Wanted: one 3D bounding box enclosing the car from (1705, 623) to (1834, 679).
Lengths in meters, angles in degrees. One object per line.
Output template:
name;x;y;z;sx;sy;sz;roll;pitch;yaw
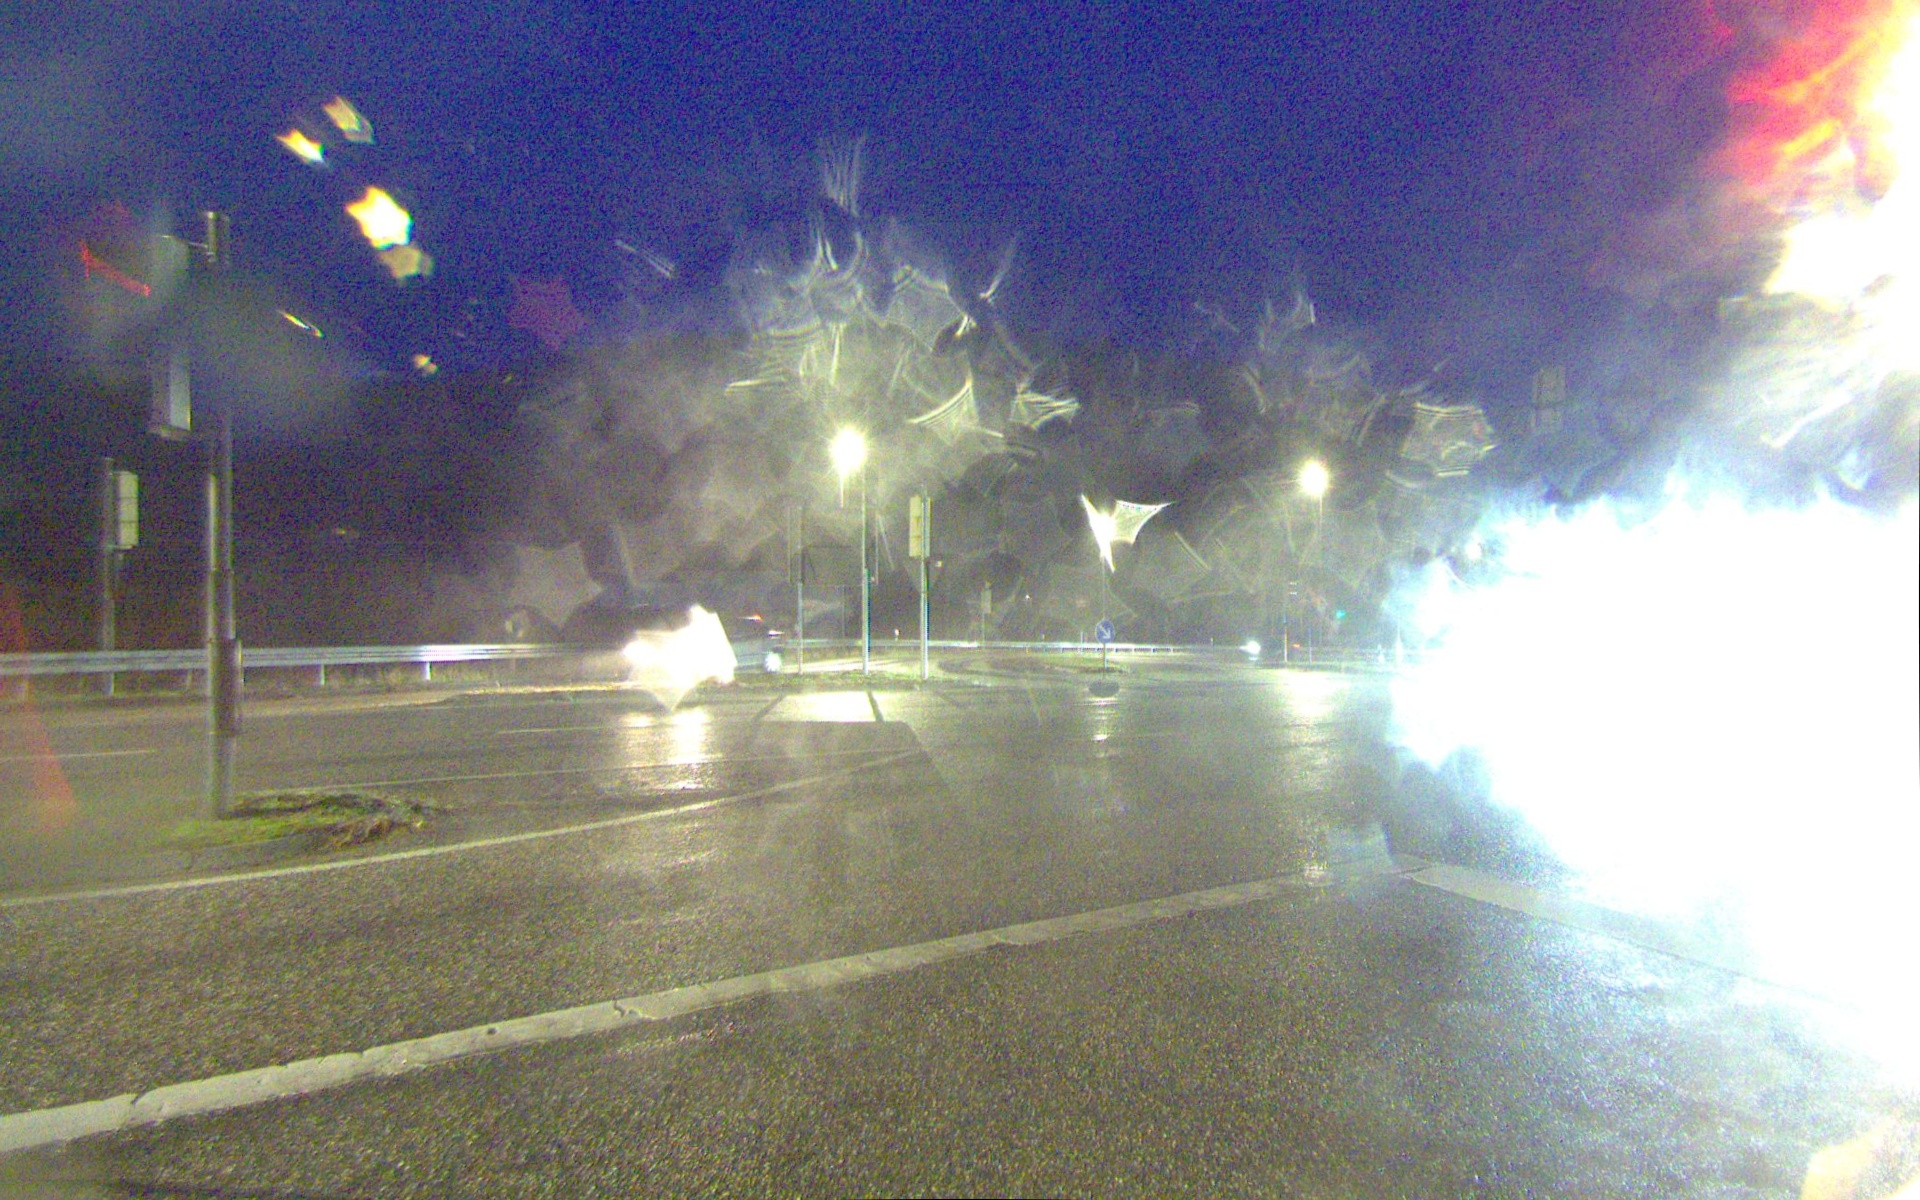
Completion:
car;23.391;1.476;29.008;3.683;1.473;1.660;2;-1;-29

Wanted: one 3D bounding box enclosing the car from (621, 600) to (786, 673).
car;-5.796;0.896;23.295;1.626;1.518;4.377;-1;-3;18

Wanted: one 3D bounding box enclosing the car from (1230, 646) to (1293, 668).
car;22.549;4.240;75.161;4.078;1.468;2.169;2;-1;-23

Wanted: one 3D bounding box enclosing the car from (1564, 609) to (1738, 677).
car;17.796;1.085;25.803;4.856;1.592;1.784;1;-1;-30

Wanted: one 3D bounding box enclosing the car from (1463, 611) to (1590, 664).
car;20.842;1.354;37.126;3.924;1.856;1.720;0;-1;24

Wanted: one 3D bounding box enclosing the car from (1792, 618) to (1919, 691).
car;22.217;1.279;24.286;4.655;1.592;1.691;1;-1;-30
